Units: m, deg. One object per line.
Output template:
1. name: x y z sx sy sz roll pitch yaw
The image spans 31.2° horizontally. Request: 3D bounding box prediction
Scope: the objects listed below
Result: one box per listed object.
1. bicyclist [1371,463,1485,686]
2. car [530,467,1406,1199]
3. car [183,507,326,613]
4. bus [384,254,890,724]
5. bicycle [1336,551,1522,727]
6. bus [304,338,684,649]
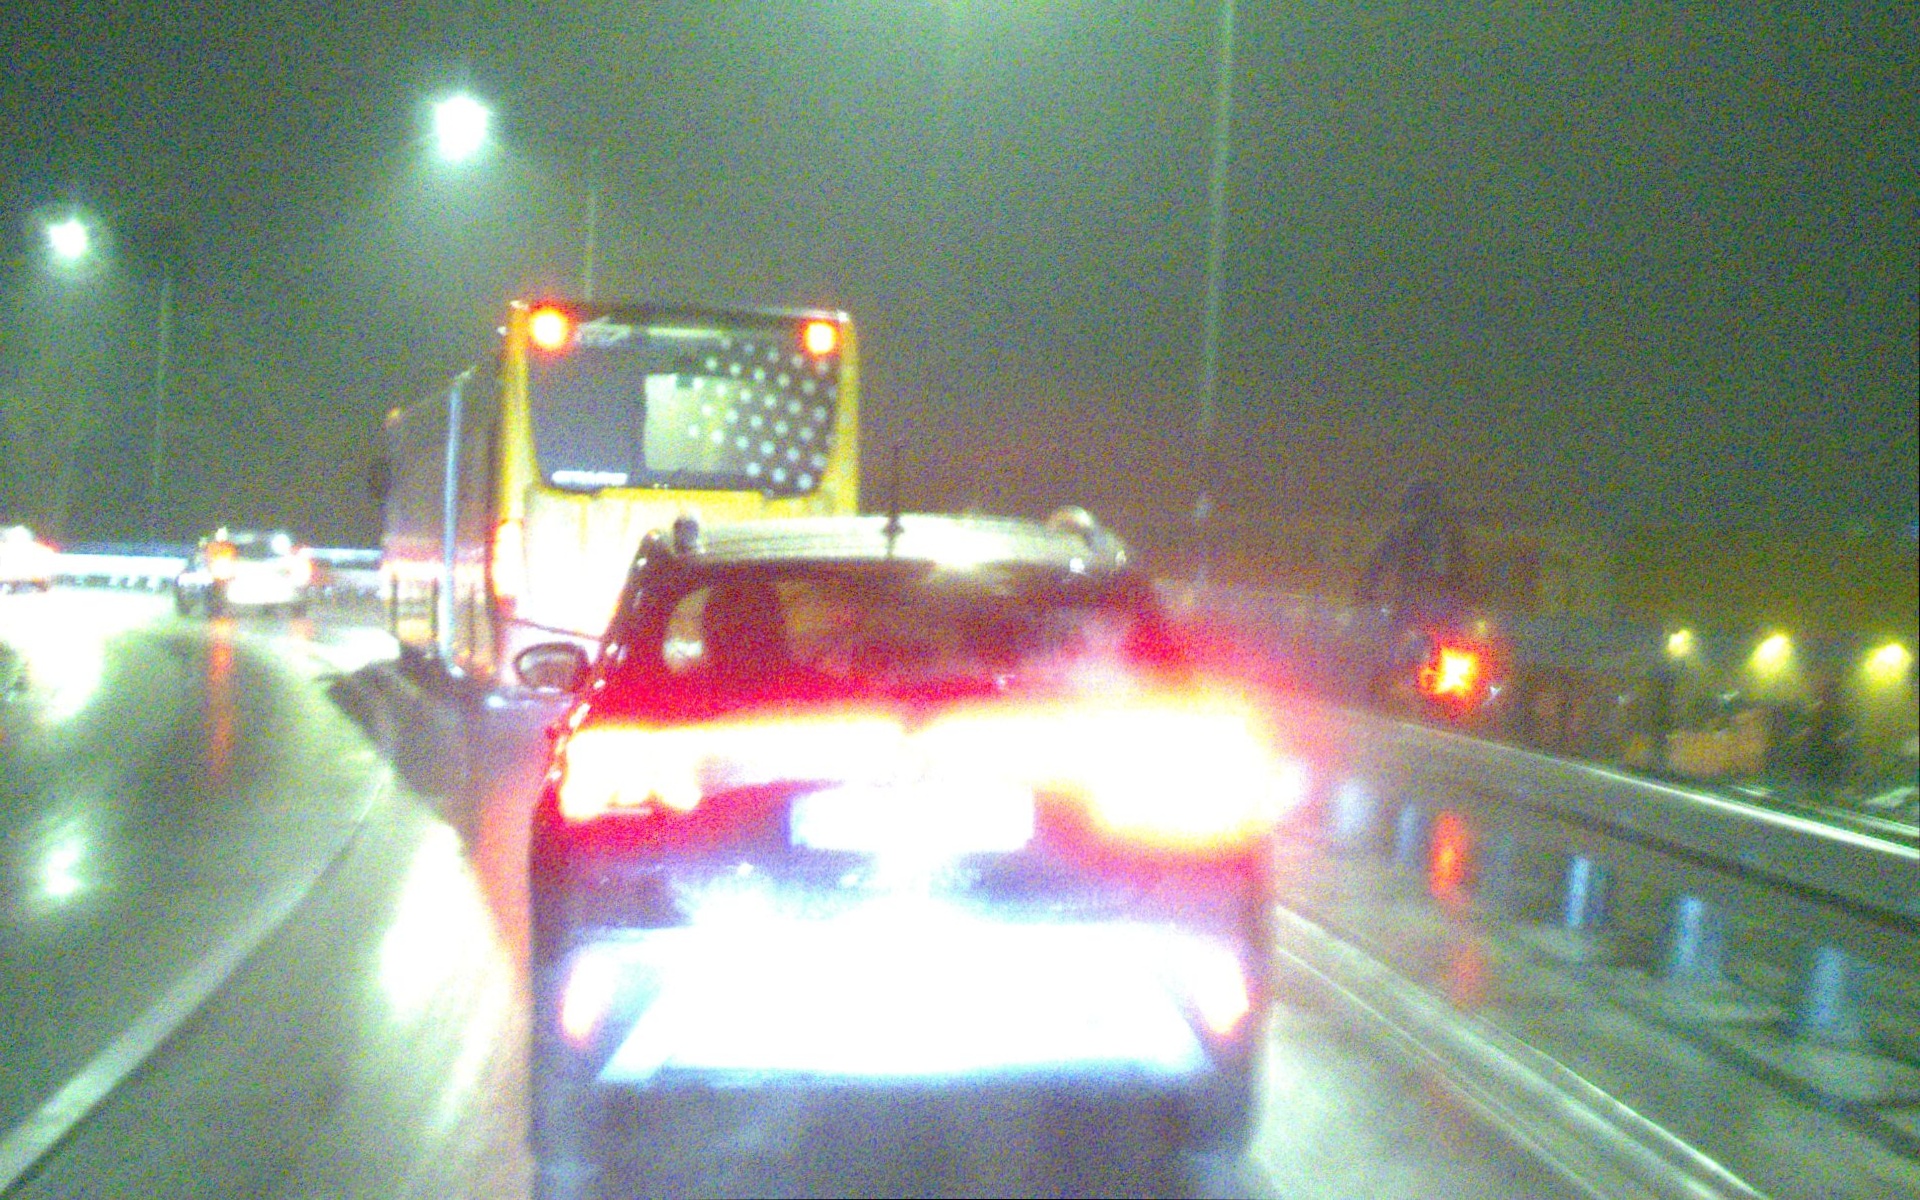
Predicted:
1. bicyclist: 2.882 -0.163 21.208 0.452 1.345 0.765 1 1 -10
2. car: -0.072 0.493 9.344 1.855 1.581 4.001 1 1 -3
3. car: -12.044 -0.657 58.560 1.636 1.650 3.710 -1 -1 -23
4. bus: -3.196 -0.902 29.364 3.082 3.122 12.701 0 2 -11
5. bicycle: 2.871 0.214 21.246 0.484 1.031 2.172 1 1 -10
6. bus: -5.563 -1.176 39.626 3.047 3.121 8.081 2 1 -17
